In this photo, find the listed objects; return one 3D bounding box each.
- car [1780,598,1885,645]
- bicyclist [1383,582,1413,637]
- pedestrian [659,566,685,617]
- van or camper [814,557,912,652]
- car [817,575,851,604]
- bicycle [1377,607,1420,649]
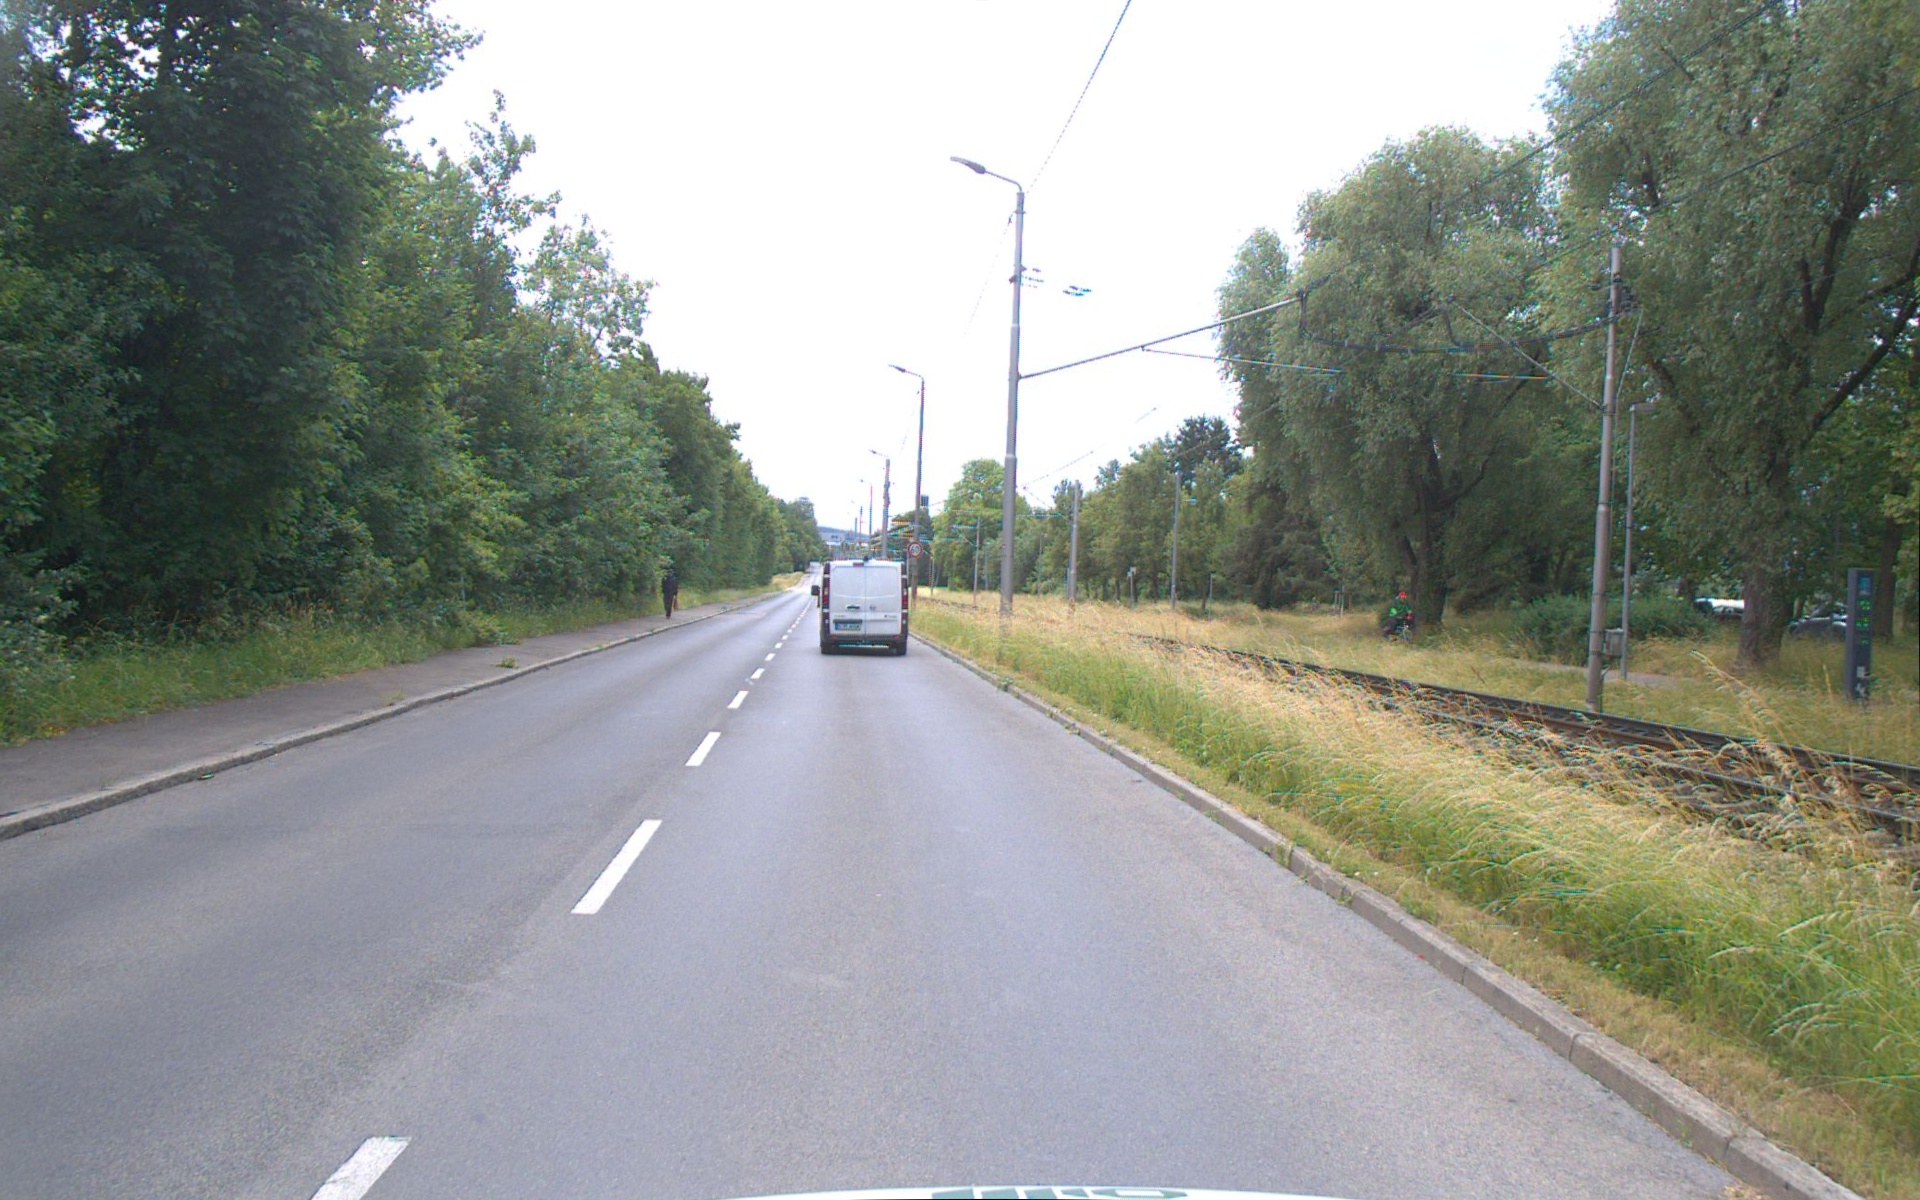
[{"bbox_3d":[35.452,0.849,67.329,1.954,1.729,3.998,3,0,-3],"label":"car"},{"bbox_3d":[14.056,0.290,53.082,0.570,1.725,0.934,2,0,-8],"label":"bicyclist"},{"bbox_3d":[-10.211,-0.310,58.599,0.851,1.800,0.788,-1,1,-8],"label":"pedestrian"},{"bbox_3d":[-2.167,0.076,35.938,1.905,1.930,4.279,1,0,-6],"label":"van or camper"},{"bbox_3d":[-7.768,-0.642,101.885,1.955,1.621,3.996,3,0,-5],"label":"car"},{"bbox_3d":[14.052,0.874,53.042,0.570,1.268,1.926,2,1,-8],"label":"bicycle"}]
